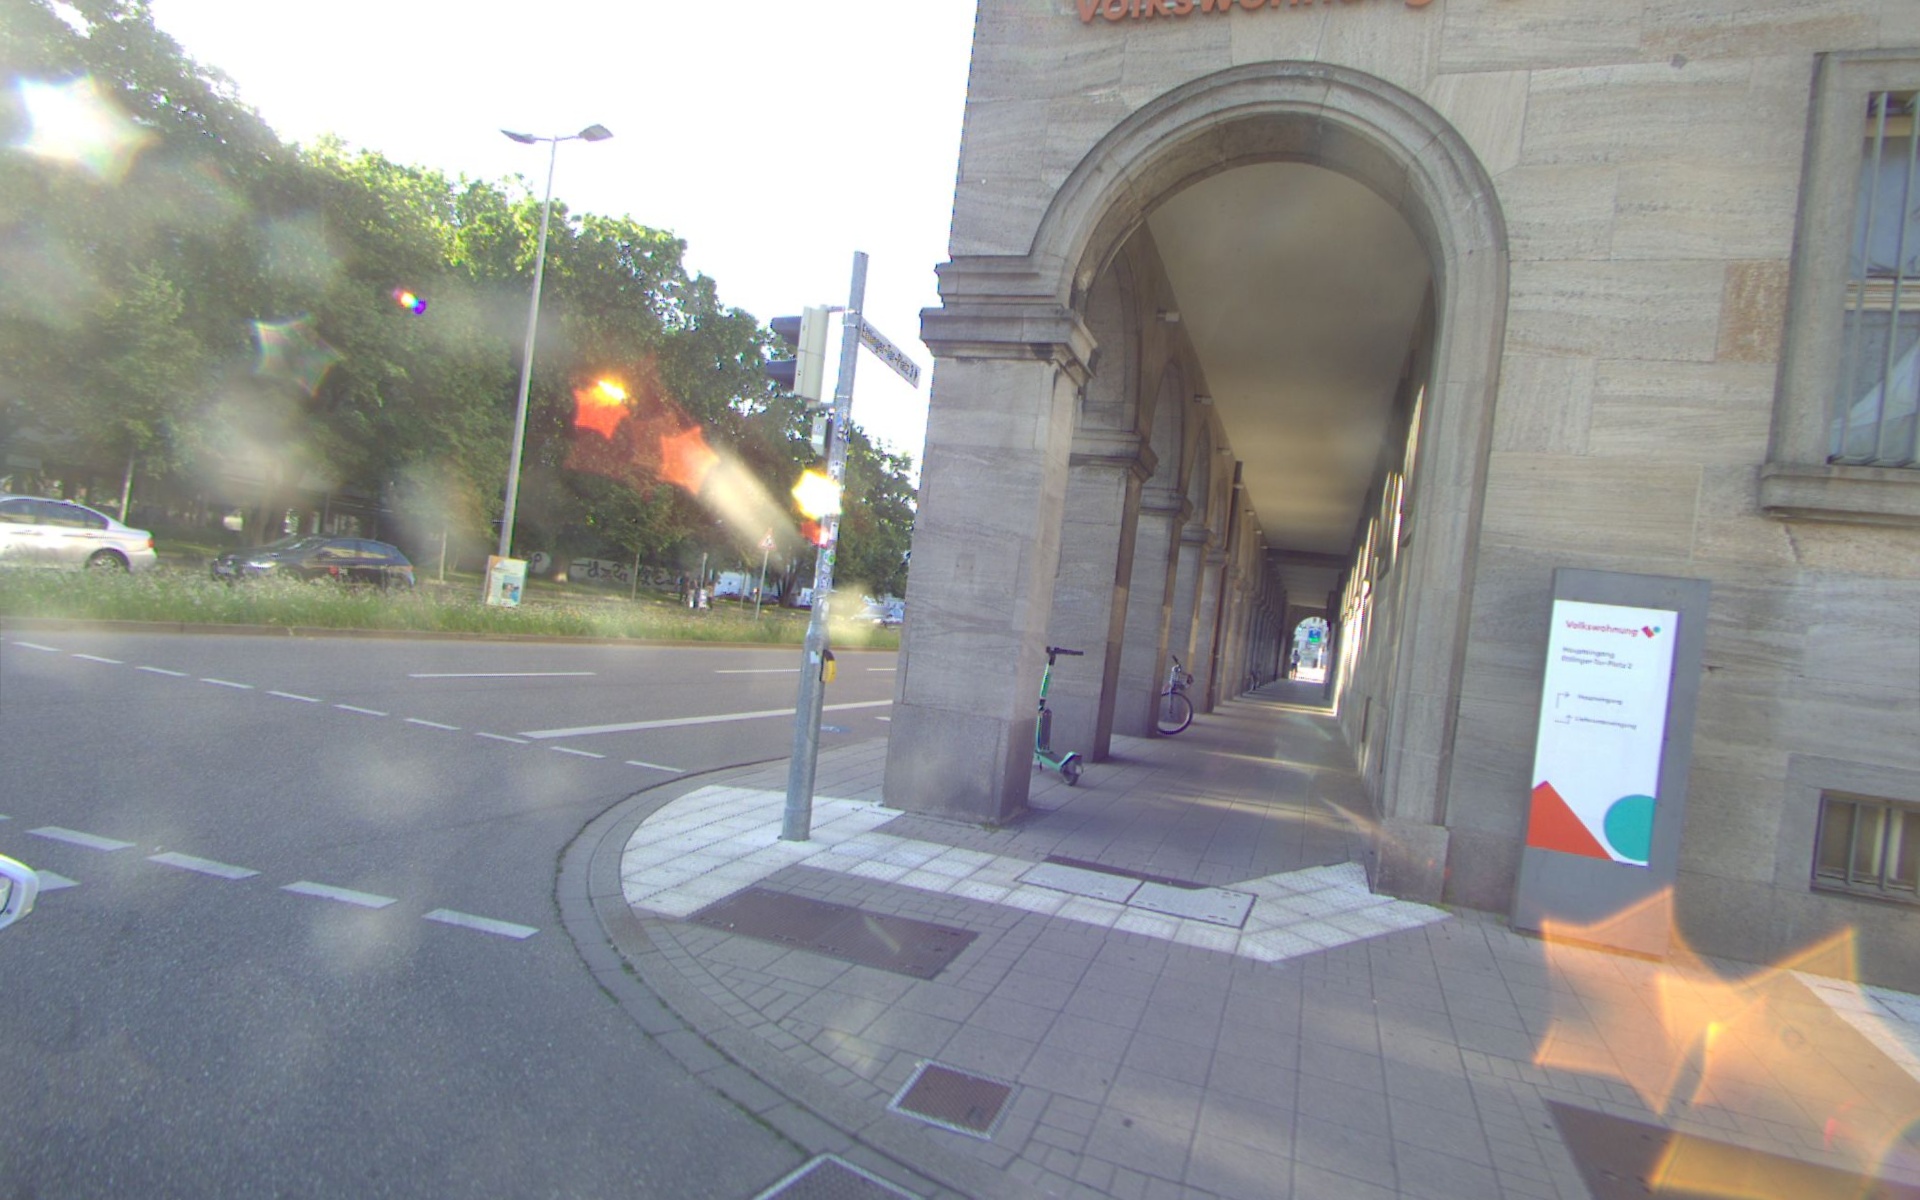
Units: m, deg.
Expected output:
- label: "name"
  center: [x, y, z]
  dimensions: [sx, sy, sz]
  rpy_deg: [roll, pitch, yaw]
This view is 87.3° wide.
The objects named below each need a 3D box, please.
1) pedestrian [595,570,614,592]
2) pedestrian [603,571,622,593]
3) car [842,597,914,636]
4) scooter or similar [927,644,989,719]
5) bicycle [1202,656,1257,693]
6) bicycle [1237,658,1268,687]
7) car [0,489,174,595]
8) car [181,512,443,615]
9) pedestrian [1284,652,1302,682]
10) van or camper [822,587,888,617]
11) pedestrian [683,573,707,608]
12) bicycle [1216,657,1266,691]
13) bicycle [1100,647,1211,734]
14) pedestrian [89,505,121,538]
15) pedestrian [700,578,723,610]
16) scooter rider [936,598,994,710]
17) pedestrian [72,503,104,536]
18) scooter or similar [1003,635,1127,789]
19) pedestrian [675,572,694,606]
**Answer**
- label: "pedestrian"
  center: [-27.676, -1.511, 78.408]
  dimensions: [0.888, 1.559, 0.895]
  rpy_deg: [7, 0, 13]
- label: "pedestrian"
  center: [-27.417, -1.433, 79.345]
  dimensions: [0.888, 1.559, 0.895]
  rpy_deg: [7, 0, 13]
- label: "car"
  center: [-4.130, 0.878, 51.108]
  dimensions: [1.963, 1.583, 4.061]
  rpy_deg: [7, -1, 20]
- label: "scooter or similar"
  center: [-0.024, 1.242, 15.545]
  dimensions: [0.546, 1.044, 1.118]
  rpy_deg: [7, 0, 17]
- label: "bicycle"
  center: [9.176, 2.537, 34.301]
  dimensions: [1.680, 1.063, 0.528]
  rpy_deg: [5, 0, 6]
- label: "bicycle"
  center: [11.569, 2.869, 39.769]
  dimensions: [0.465, 1.063, 1.706]
  rpy_deg: [5, -1, 39]
- label: "car"
  center: [-16.568, -1.123, 17.146]
  dimensions: [1.963, 1.579, 4.550]
  rpy_deg: [7, -1, 20]
- label: "car"
  center: [-14.285, -0.717, 22.523]
  dimensions: [1.963, 1.696, 4.550]
  rpy_deg: [7, -1, 20]
- label: "pedestrian"
  center: [18.431, 3.712, 55.752]
  dimensions: [0.764, 1.589, 0.952]
  rpy_deg: [7, 1, 18]
- label: "van or camper"
  center: [-9.875, 0.210, 94.436]
  dimensions: [5.577, 2.036, 2.259]
  rpy_deg: [6, -2, 22]
- label: "pedestrian"
  center: [-14.473, -0.523, 54.945]
  dimensions: [0.760, 1.762, 0.760]
  rpy_deg: [7, 0, 24]
- label: "bicycle"
  center: [10.062, 2.667, 36.026]
  dimensions: [1.692, 1.063, 0.608]
  rpy_deg: [6, -1, -27]
- label: "bicycle"
  center: [2.991, 1.376, 15.568]
  dimensions: [0.656, 1.147, 1.701]
  rpy_deg: [6, -1, -29]
- label: "pedestrian"
  center: [-39.140, -3.594, 46.065]
  dimensions: [0.814, 1.356, 0.716]
  rpy_deg: [7, 0, 23]
- label: "pedestrian"
  center: [-13.599, -0.335, 55.068]
  dimensions: [0.731, 1.661, 0.726]
  rpy_deg: [7, 0, 24]
- label: "scooter rider"
  center: [0.082, 0.834, 15.705]
  dimensions: [0.552, 1.652, 0.650]
  rpy_deg: [7, 0, 17]
- label: "pedestrian"
  center: [-39.381, -3.628, 45.434]
  dimensions: [0.892, 1.356, 0.665]
  rpy_deg: [7, 0, 23]
- label: "scooter or similar"
  center: [0.921, 0.973, 9.132]
  dimensions: [0.631, 1.238, 1.261]
  rpy_deg: [5, -1, -14]
- label: "pedestrian"
  center: [-15.107, -0.608, 55.244]
  dimensions: [0.516, 1.762, 0.654]
  rpy_deg: [7, 1, 24]
